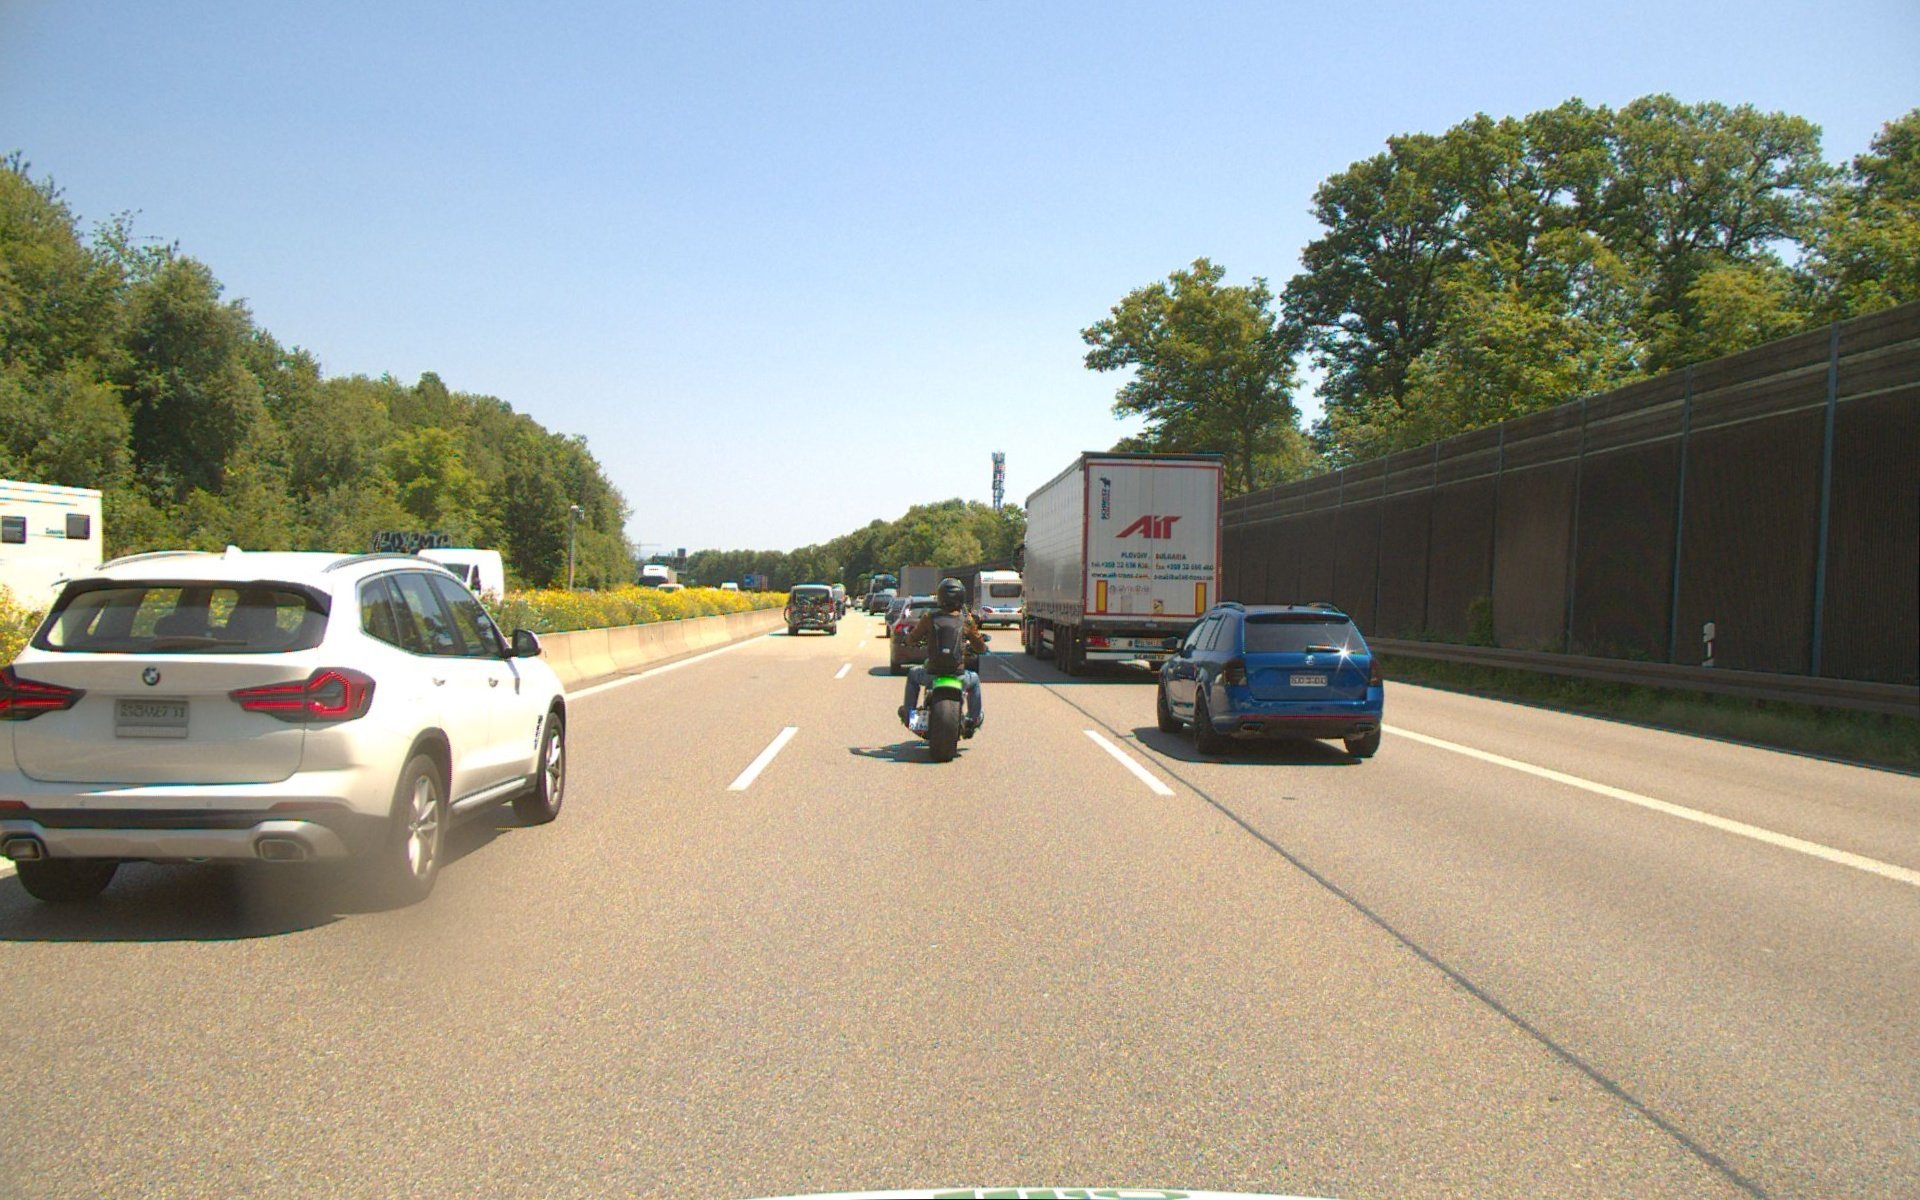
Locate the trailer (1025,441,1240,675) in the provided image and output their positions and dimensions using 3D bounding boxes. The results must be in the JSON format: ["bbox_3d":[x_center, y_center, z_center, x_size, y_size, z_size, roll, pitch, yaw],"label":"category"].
[{"bbox_3d":[3.324,-0.736,36.095,2.827,4.109,13.790,1,0,-2],"label":"trailer"}]

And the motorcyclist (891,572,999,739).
[{"bbox_3d":[-0.112,0.515,15.833,0.881,1.501,1.873,0,-1,4],"label":"motorcyclist"}]

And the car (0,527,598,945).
[{"bbox_3d":[-3.435,0.571,9.321,1.826,1.724,4.954,0,0,-2],"label":"car"}]

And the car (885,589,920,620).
[{"bbox_3d":[-2.962,0.230,86.028,1.743,1.579,3.584,1,0,-2],"label":"car"}]

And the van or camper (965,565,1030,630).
[{"bbox_3d":[1.683,-0.071,76.970,2.631,2.862,6.799,1,-1,-2],"label":"van or camper"}]

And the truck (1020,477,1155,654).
[{"bbox_3d":[3.159,-0.829,42.604,2.827,4.218,5.983,1,0,-2],"label":"truck"}]

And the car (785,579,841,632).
[{"bbox_3d":[-5.464,0.242,62.078,1.861,1.906,4.410,1,-1,-2],"label":"car"}]

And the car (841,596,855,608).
[{"bbox_3d":[-14.919,0.218,219.533,1.797,1.522,3.739,1,-1,-5],"label":"car"}]

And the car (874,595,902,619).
[{"bbox_3d":[-5.328,0.532,122.353,1.954,1.669,3.997,1,-1,-3],"label":"car"}]

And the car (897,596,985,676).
[{"bbox_3d":[-0.418,0.711,32.978,1.629,1.478,3.867,1,-1,-2],"label":"car"}]

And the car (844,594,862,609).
[{"bbox_3d":[-11.489,0.218,177.861,1.795,1.522,3.742,1,-1,-2],"label":"car"}]

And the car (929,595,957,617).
[{"bbox_3d":[-1.305,0.482,125.477,1.954,1.601,3.997,1,-1,-3],"label":"car"}]

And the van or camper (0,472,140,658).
[{"bbox_3d":[-18.641,-0.629,30.731,2.488,3.376,8.998,1,-1,-2],"label":"van or camper"}]

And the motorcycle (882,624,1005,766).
[{"bbox_3d":[-0.107,0.849,15.816,0.944,1.168,2.813,1,0,4],"label":"motorcycle"}]

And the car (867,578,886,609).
[{"bbox_3d":[-10.870,-0.888,214.195,2.092,3.929,8.133,1,0,-5],"label":"car"}]

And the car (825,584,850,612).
[{"bbox_3d":[-9.025,-0.131,122.196,1.756,2.049,3.639,1,-1,-4],"label":"car"}]

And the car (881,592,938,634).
[{"bbox_3d":[-1.855,0.507,59.930,1.954,1.455,3.844,1,-1,-3],"label":"car"}]

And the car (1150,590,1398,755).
[{"bbox_3d":[3.163,0.713,17.518,1.617,1.509,4.479,1,-1,-2],"label":"car"}]

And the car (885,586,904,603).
[{"bbox_3d":[-7.743,-0.613,195.222,2.067,1.909,3.995,1,-1,-5],"label":"car"}]

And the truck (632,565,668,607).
[{"bbox_3d":[-31.900,-1.413,170.320,2.906,4.179,6.082,1,-1,-4],"label":"truck"}]

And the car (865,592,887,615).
[{"bbox_3d":[-7.769,0.328,153.133,1.874,2.049,3.686,1,-1,-6],"label":"car"}]

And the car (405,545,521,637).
[{"bbox_3d":[-15.873,-0.279,53.174,2.156,2.789,5.745,1,0,-2],"label":"car"}]

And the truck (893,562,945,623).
[{"bbox_3d":[-3.632,-0.589,144.350,3.730,5.047,8.937,1,-1,-6],"label":"truck"}]

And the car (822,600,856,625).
[{"bbox_3d":[-7.288,0.770,99.889,1.954,1.411,3.997,1,-1,-4],"label":"car"}]

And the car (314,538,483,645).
[{"bbox_3d":[-11.095,-0.159,32.983,1.953,1.959,4.000,1,0,0],"label":"car"}]
